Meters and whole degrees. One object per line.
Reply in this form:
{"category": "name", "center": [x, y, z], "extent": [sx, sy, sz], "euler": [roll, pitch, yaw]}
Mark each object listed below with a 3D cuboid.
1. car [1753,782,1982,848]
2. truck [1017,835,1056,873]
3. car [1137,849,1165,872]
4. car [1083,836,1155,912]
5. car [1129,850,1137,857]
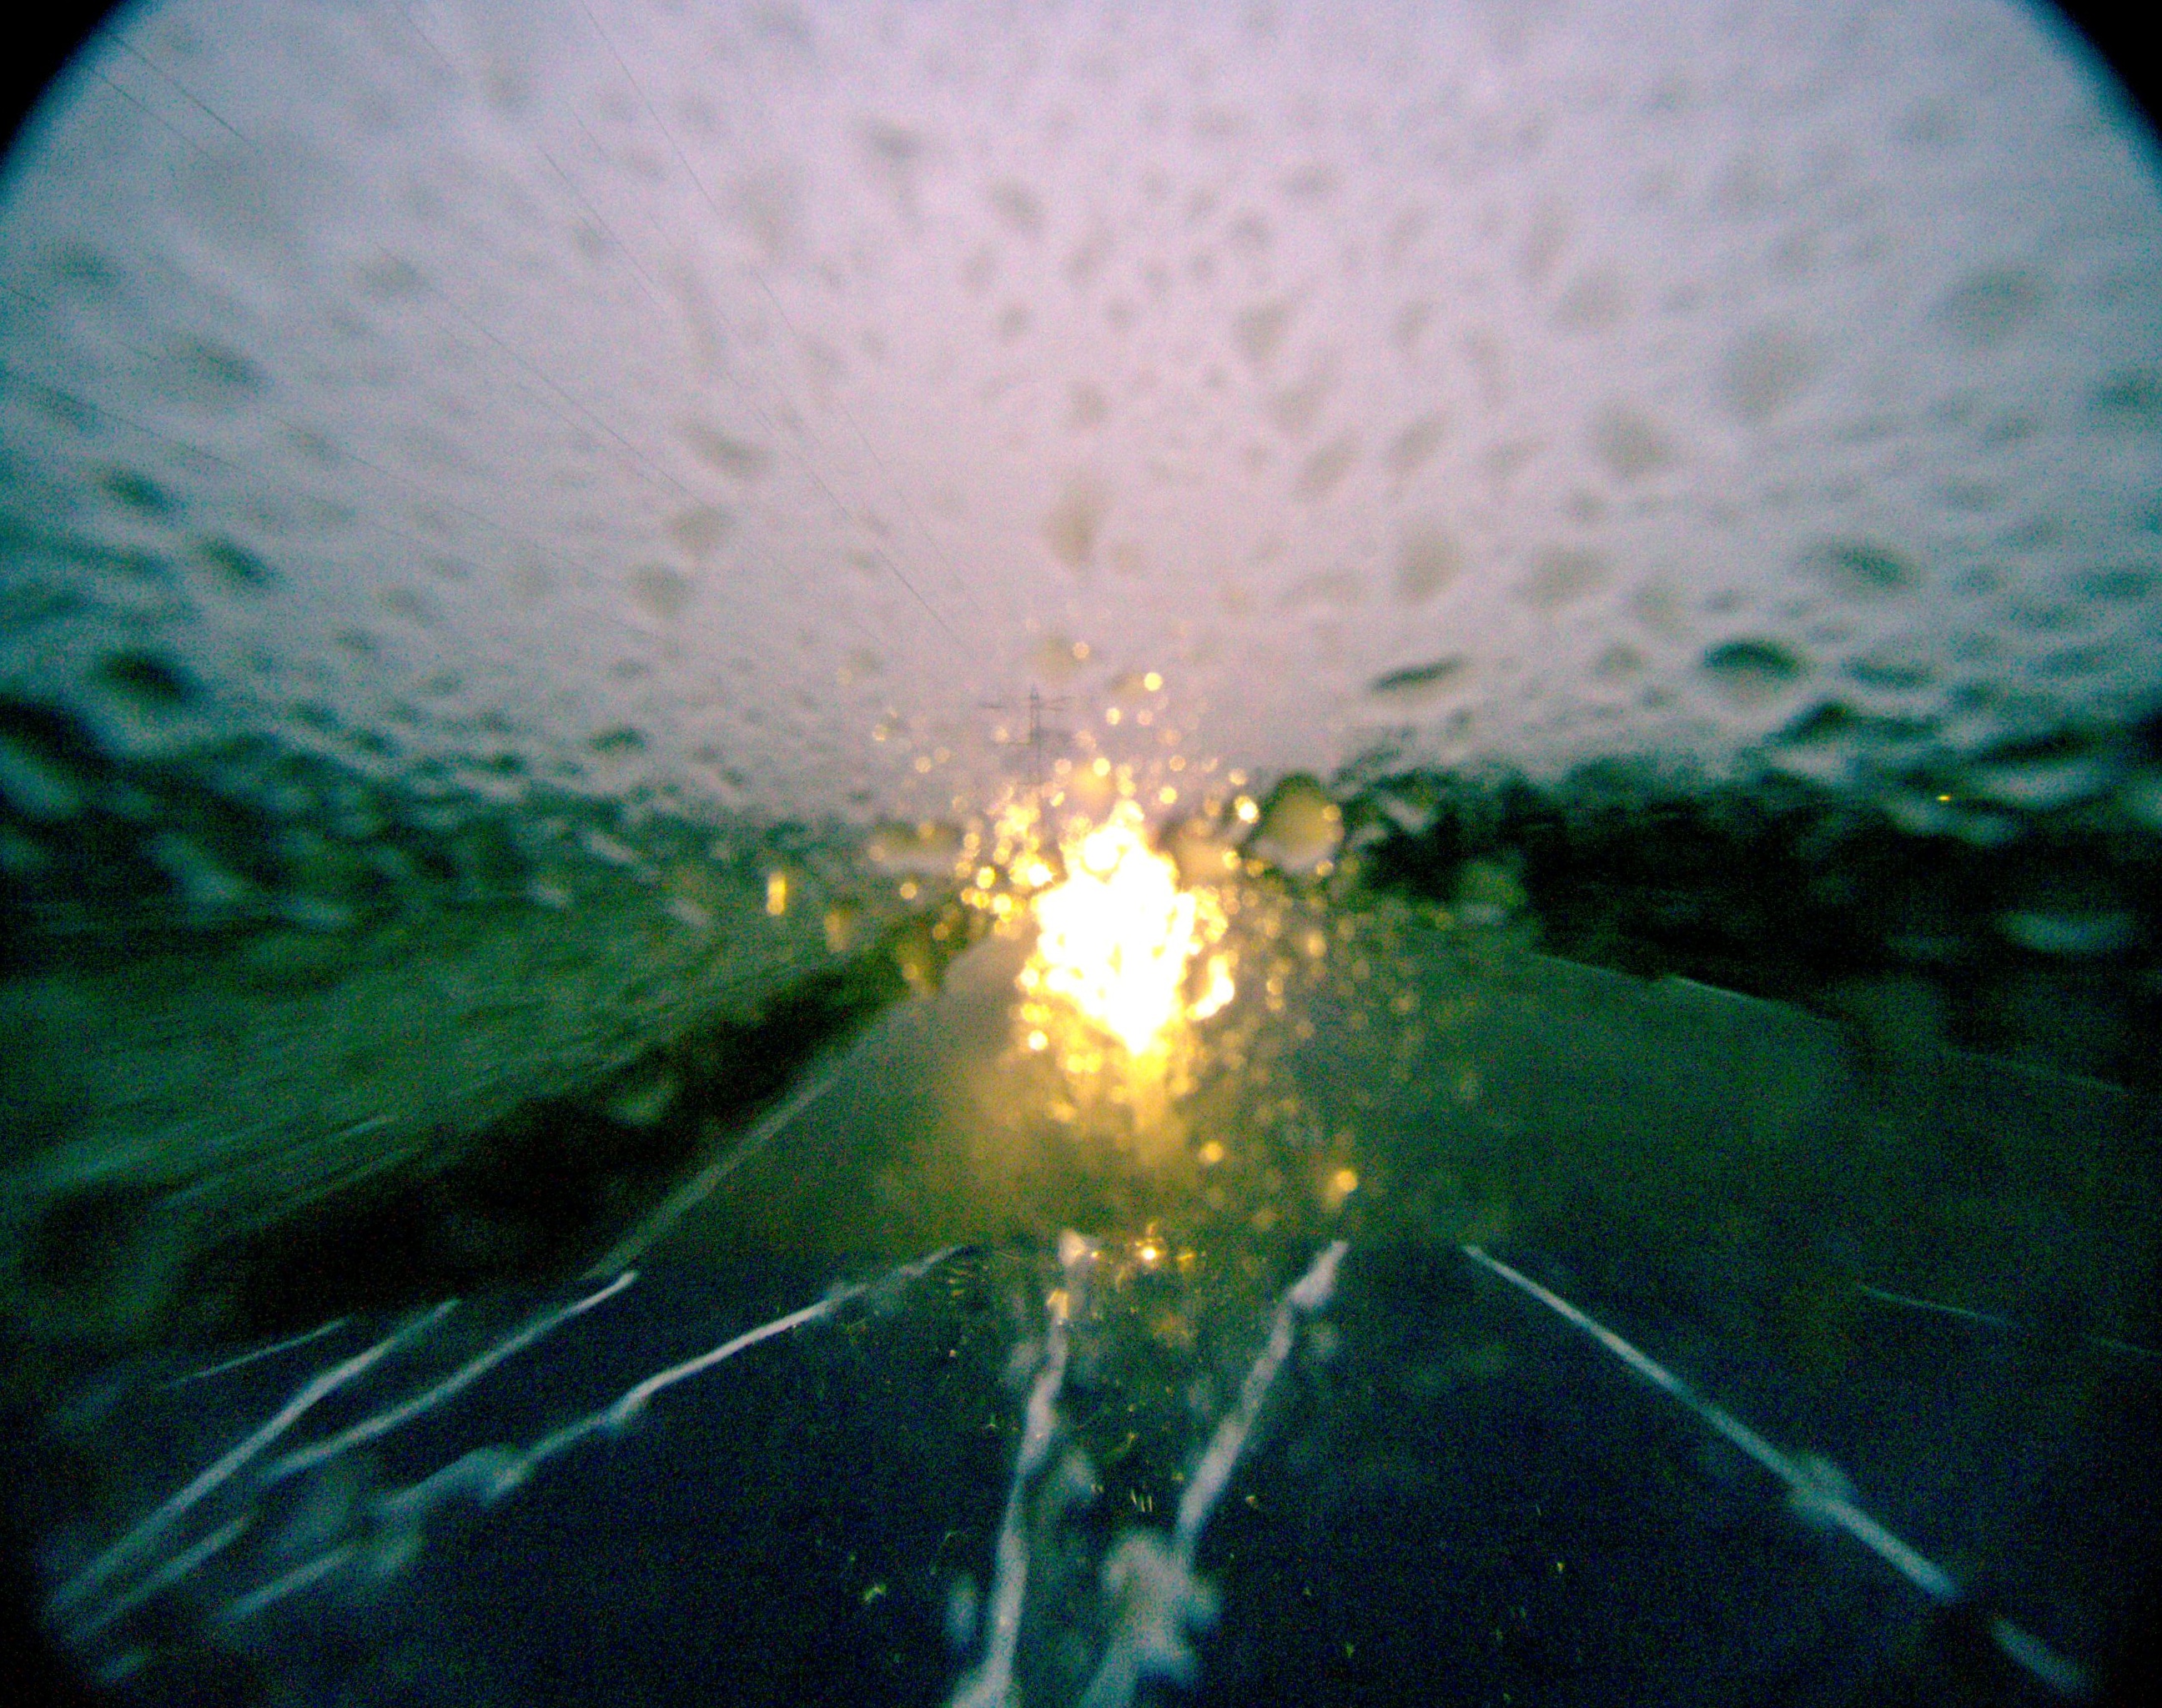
{"category": "car", "center": [27.529, -1.275, 27.012], "extent": [2.318, 2.002, 5.602], "euler": [-2, 1, 0]}
{"category": "truck", "center": [-3.735, -0.062, 65.937], "extent": [2.540, 2.961, 7.857], "euler": [-2, 1, 2]}
{"category": "car", "center": [5.288, 0.482, 57.856], "extent": [1.790, 1.582, 4.486], "euler": [-2, 0, 2]}
{"category": "car", "center": [1.049, 0.524, 22.741], "extent": [1.857, 2.002, 3.999], "euler": [-2, 1, -1]}
{"category": "car", "center": [11.865, -0.079, 174.034], "extent": [1.773, 1.582, 4.164], "euler": [-2, 0, 3]}
